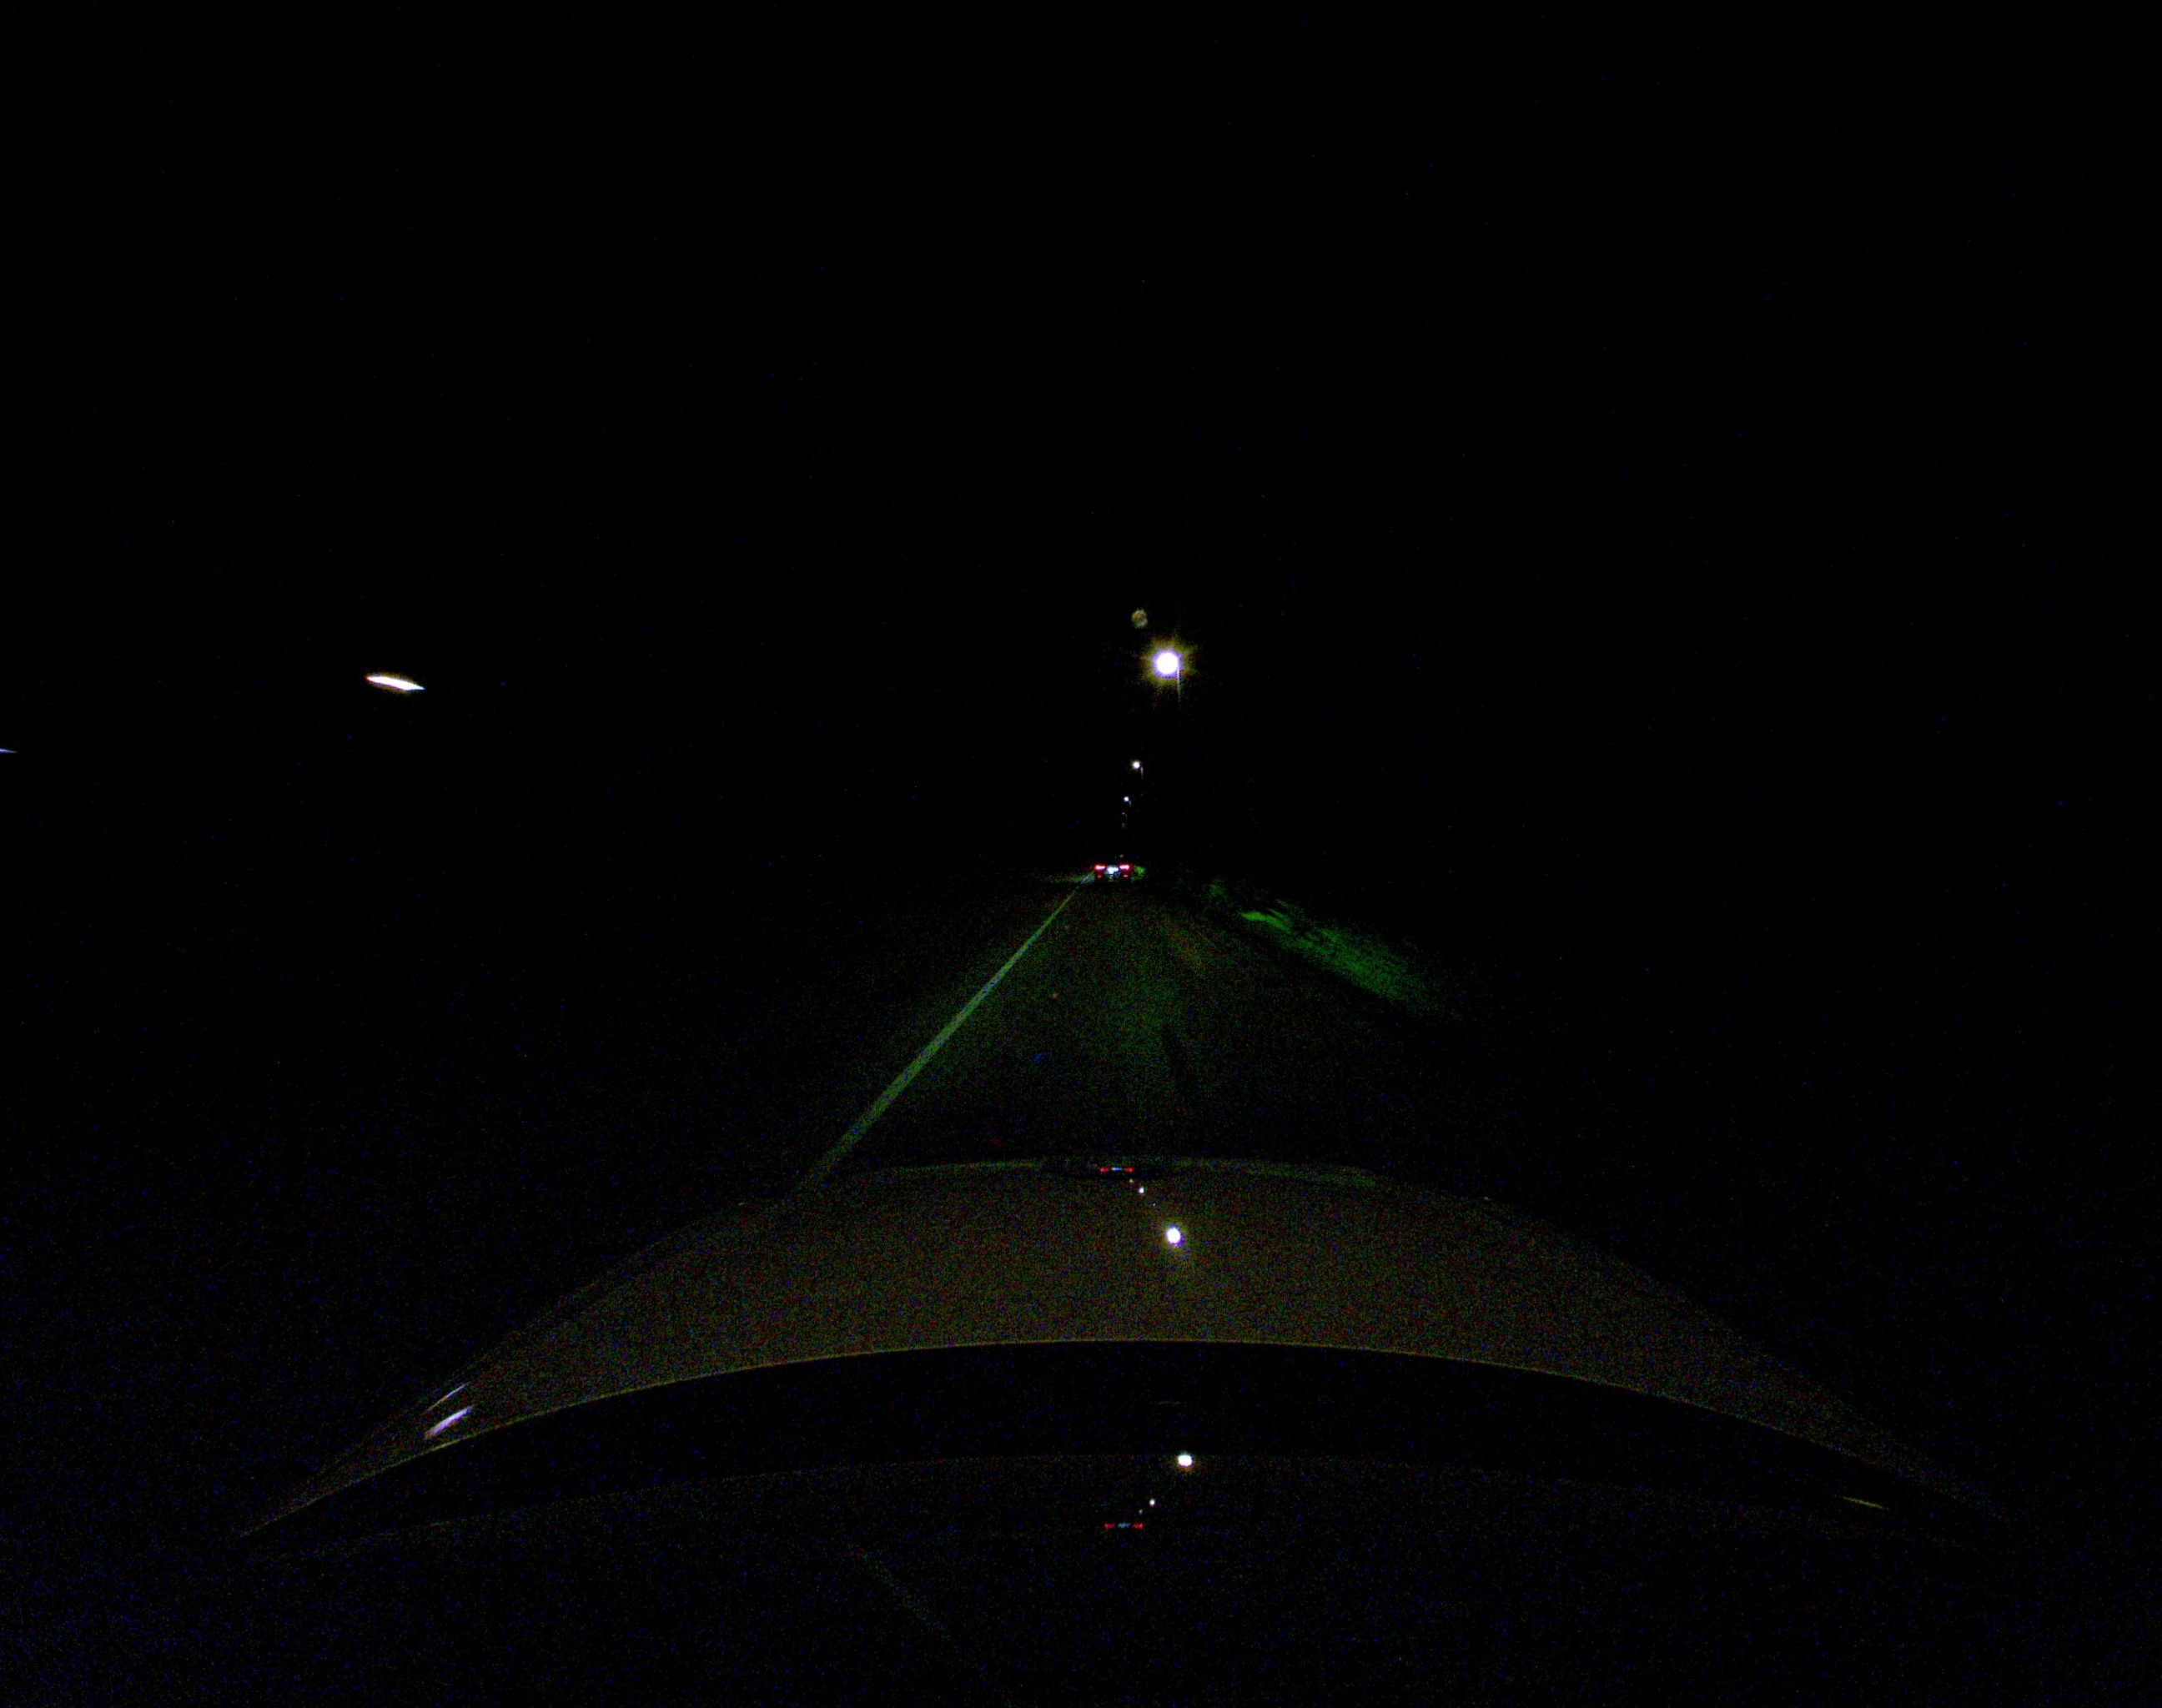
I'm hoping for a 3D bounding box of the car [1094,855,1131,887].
[{"bbox_3d":[1.594,0.852,41.936,1.808,1.573,3.944,-1,0,1],"label":"car"}]
